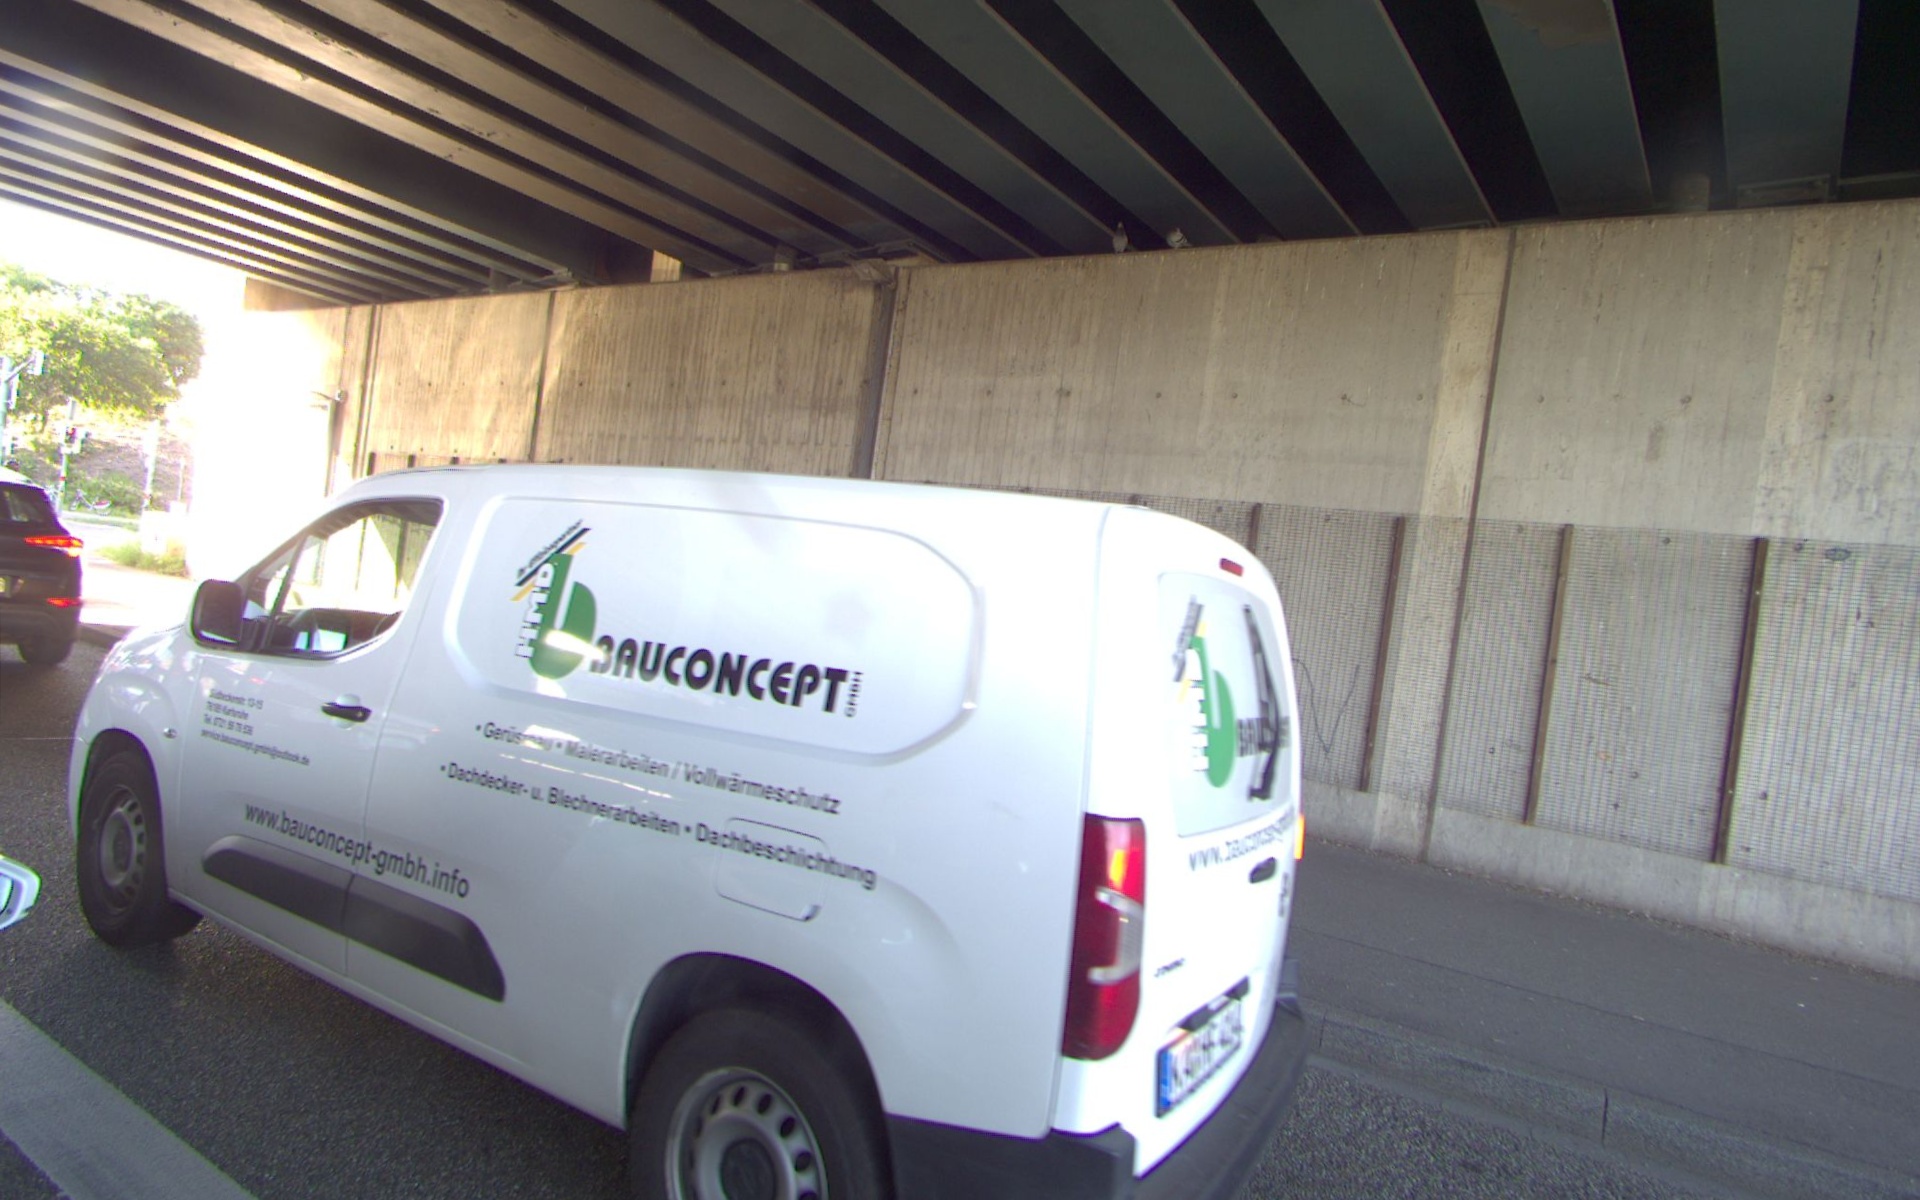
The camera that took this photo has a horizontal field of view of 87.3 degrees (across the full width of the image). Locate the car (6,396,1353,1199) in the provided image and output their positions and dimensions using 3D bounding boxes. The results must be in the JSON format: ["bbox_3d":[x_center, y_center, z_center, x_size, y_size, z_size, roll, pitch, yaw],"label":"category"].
[{"bbox_3d":[-1.137,0.504,3.449,4.227,1.855,1.818,8,-1,30],"label":"car"}]

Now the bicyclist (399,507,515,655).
[{"bbox_3d":[-5.592,-0.205,11.193,0.894,1.544,0.695,7,2,32],"label":"bicyclist"}]

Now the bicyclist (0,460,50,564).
[{"bbox_3d":[-16.117,-1.496,17.152,0.635,1.647,0.676,6,-2,42],"label":"bicyclist"}]

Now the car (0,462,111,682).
[{"bbox_3d":[-9.273,-0.463,8.585,3.923,1.674,1.782,7,-2,31],"label":"car"}]

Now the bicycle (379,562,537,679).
[{"bbox_3d":[-5.599,0.215,11.189,1.731,1.071,0.702,7,2,32],"label":"bicycle"}]
